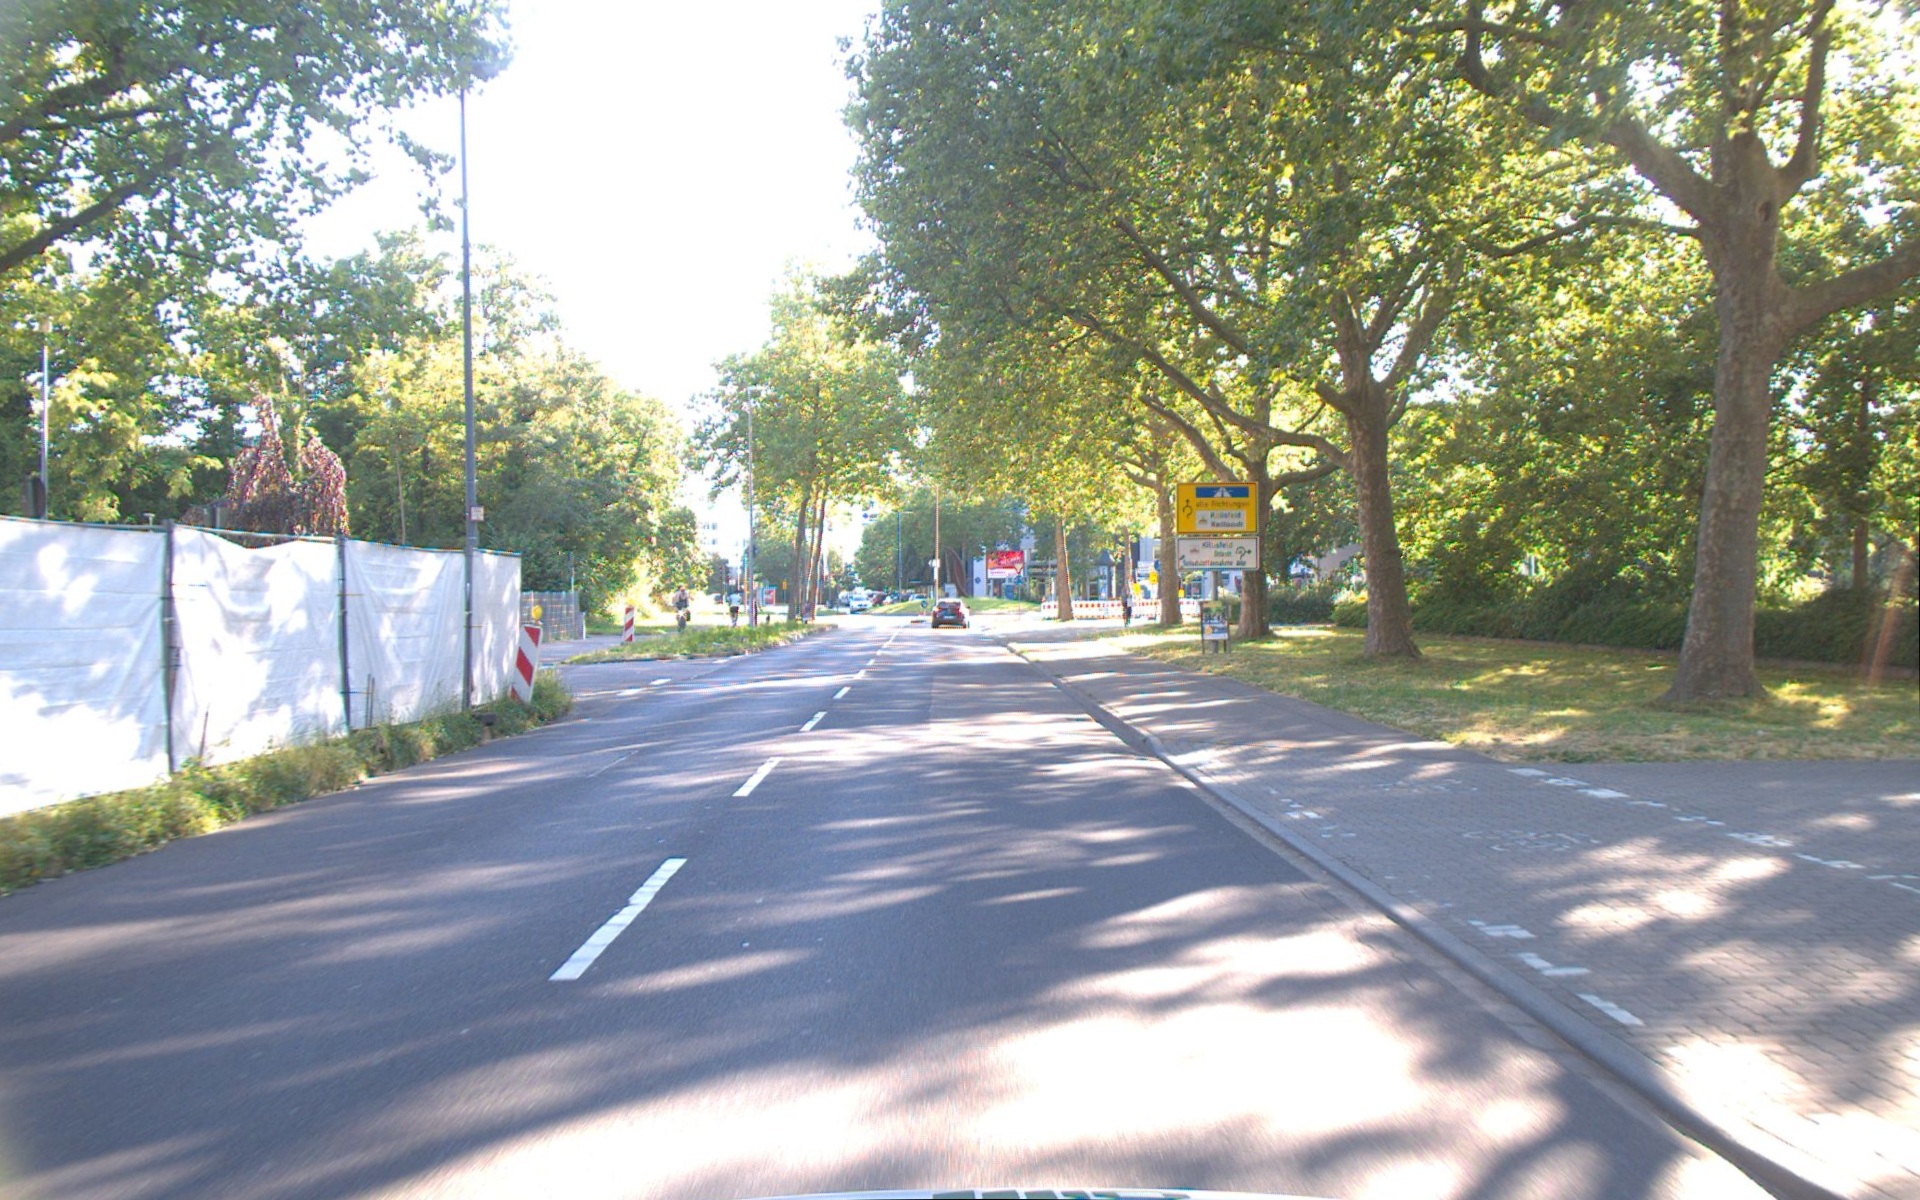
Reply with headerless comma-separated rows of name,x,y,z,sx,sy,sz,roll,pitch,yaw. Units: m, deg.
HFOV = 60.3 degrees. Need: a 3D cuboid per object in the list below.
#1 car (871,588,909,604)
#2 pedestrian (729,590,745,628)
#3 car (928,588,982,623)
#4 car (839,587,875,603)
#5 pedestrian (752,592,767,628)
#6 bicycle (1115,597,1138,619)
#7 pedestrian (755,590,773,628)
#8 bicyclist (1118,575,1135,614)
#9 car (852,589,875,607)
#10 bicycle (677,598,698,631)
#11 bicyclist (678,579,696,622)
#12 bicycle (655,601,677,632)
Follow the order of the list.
car,-7.979,-0.444,187.412,3.946,1.777,1.777,1,0,-31
pedestrian,-10.353,0.401,76.847,0.619,1.769,0.664,0,0,1
car,-0.238,0.256,81.875,1.800,1.633,3.866,-1,1,13
car,-12.326,-0.624,198.239,3.946,1.777,1.777,1,0,-31
pedestrian,-9.329,0.471,76.879,0.619,1.666,0.576,0,0,0
bicycle,7.558,0.374,75.003,0.754,0.981,2.174,-2,0,-1
pedestrian,-9.246,0.426,78.028,0.733,1.769,0.852,0,0,1
bicyclist,7.567,-0.238,75.083,0.637,1.735,0.871,1,0,0
car,-8.920,-0.161,152.563,1.955,1.606,3.996,0,0,-5
bicycle,-10.961,0.558,66.540,0.567,1.267,2.107,-1,1,-2
bicyclist,-10.967,0.006,66.563,0.567,1.709,0.970,-1,1,-2
bicycle,-12.163,0.684,68.446,0.567,1.206,2.031,-4,0,-2
